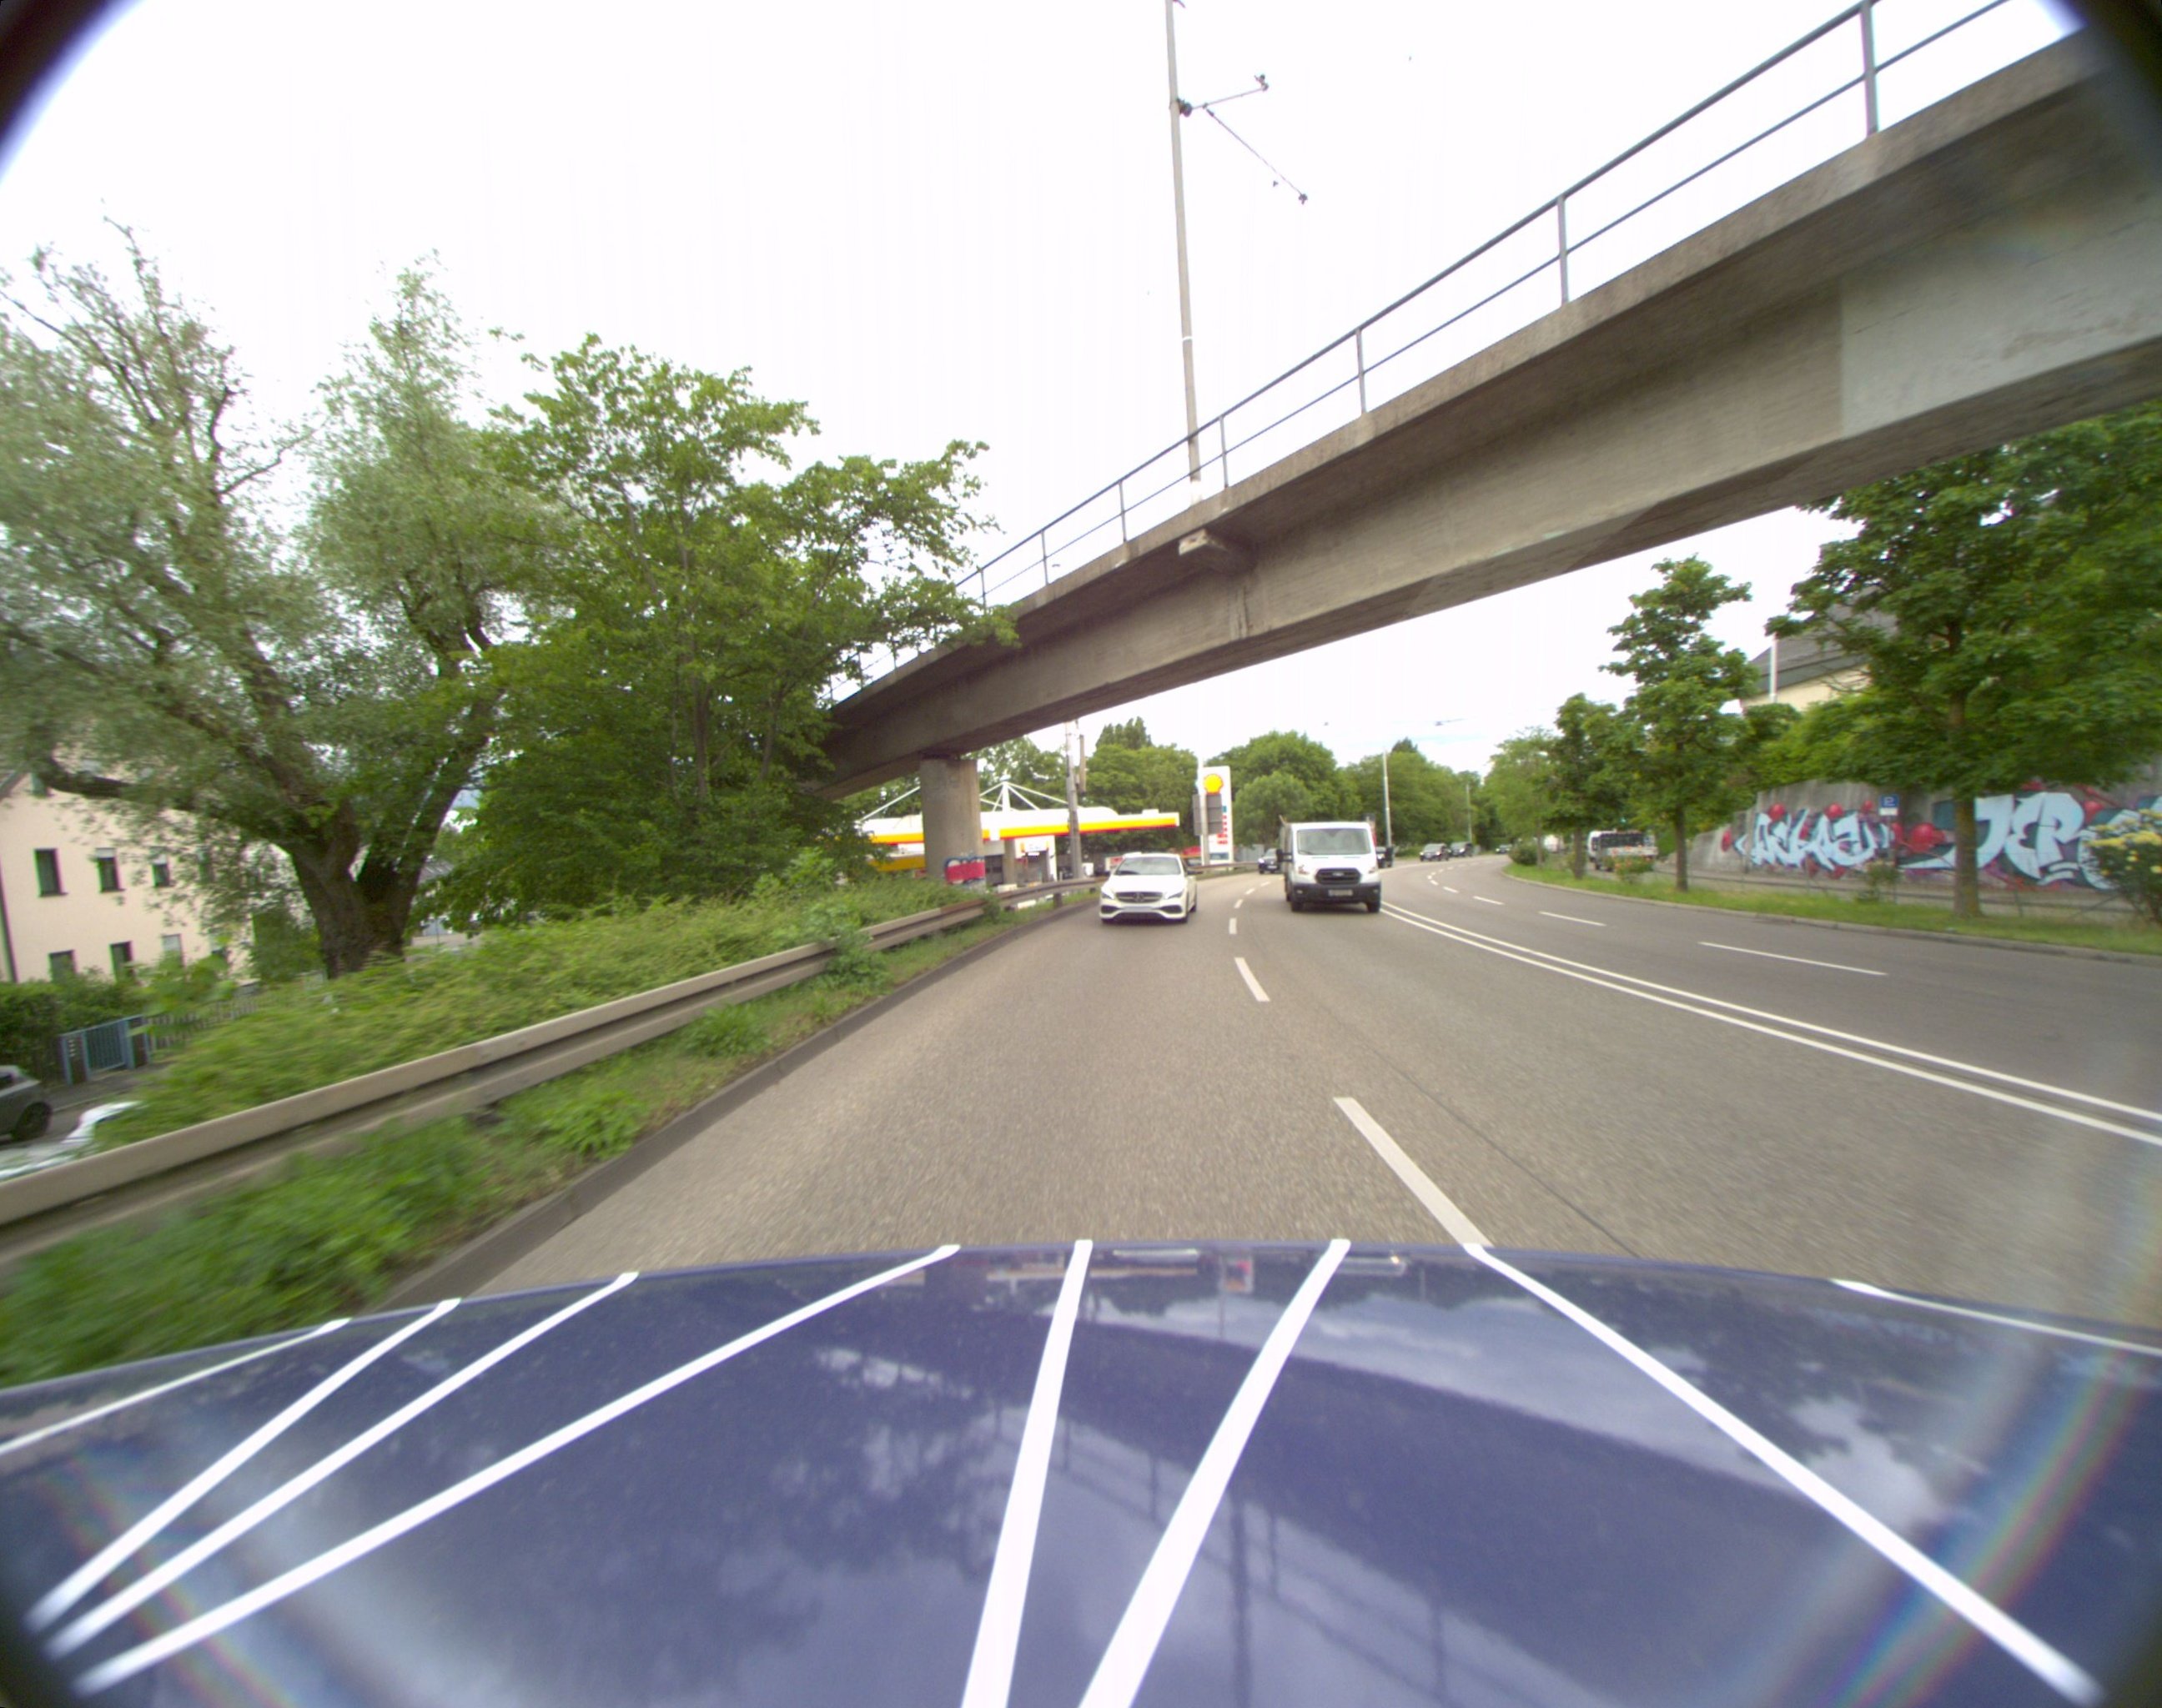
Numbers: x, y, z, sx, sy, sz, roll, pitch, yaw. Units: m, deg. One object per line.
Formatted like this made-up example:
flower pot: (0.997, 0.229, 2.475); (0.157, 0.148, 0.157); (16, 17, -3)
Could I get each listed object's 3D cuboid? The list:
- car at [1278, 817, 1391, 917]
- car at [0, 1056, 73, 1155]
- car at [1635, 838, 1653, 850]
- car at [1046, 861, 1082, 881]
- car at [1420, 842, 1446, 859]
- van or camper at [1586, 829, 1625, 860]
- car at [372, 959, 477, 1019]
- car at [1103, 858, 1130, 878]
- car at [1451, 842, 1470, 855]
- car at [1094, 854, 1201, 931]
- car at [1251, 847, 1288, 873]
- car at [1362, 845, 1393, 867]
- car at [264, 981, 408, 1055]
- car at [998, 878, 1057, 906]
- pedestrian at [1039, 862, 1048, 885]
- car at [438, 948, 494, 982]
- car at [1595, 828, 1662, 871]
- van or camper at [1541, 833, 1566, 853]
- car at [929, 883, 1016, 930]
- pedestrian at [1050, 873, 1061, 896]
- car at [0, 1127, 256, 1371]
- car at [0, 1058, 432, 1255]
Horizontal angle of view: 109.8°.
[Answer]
car: (6.296, 0.287, 19.609); (1.997, 2.161, 6.274); (-1, 0, 11)
car: (-19.582, 4.610, 12.455); (1.625, 1.439, 4.024); (-5, 0, -19)
car: (70.875, -1.242, 95.568); (1.673, 1.420, 4.427); (3, 3, 38)
car: (-1.593, 1.505, 69.125); (1.725, 1.428, 4.095); (-3, 4, -26)
car: (33.267, -0.355, 71.685); (1.726, 1.469, 4.007); (-2, 0, 32)
van or camper: (43.519, -0.834, 62.947); (1.994, 2.459, 5.721); (0, 1, 41)
car: (-25.055, 5.087, 29.178); (1.625, 1.512, 4.297); (-5, 0, -22)
car: (3.264, 1.225, 69.797); (1.628, 1.511, 4.095); (-2, 3, -9)
car: (45.349, -0.623, 90.657); (1.726, 1.469, 4.007); (-2, 0, 30)
car: (1.583, 0.745, 16.742); (1.819, 1.339, 4.003); (0, 2, 13)
car: (11.067, 0.329, 44.910); (1.732, 1.403, 4.002); (-2, 0, 9)
car: (20.773, 0.128, 53.206); (1.733, 1.403, 4.007); (-2, 0, 25)
car: (-23.005, 5.012, 23.659); (1.652, 1.386, 3.764); (-5, 0, -19)
car: (-3.658, 2.559, 52.190); (1.736, 1.478, 3.884); (-1, 4, 40)
pedestrian: (-2.818, 1.452, 57.222); (0.432, 1.695, 0.491); (-3, 2, -41)
car: (-31.250, 5.596, 38.579); (3.578, 1.341, 1.604); (-6, 1, 43)
car: (31.378, -0.306, 43.761); (2.269, 2.260, 6.337); (0, 1, 28)
van or camper: (53.441, -1.230, 85.837); (2.009, 2.248, 5.974); (0, 1, 36)
car: (-5.975, 2.868, 42.338); (1.736, 1.999, 4.720); (-2, 4, 39)
pedestrian: (-1.926, 2.278, 57.465); (0.542, 1.694, 0.611); (-1, 1, 35)
car: (-10.458, 3.634, 6.861); (4.055, 1.362, 1.624); (-5, 0, -2)
car: (-10.734, 3.616, 9.268); (4.055, 1.439, 1.624); (-5, 0, -2)
